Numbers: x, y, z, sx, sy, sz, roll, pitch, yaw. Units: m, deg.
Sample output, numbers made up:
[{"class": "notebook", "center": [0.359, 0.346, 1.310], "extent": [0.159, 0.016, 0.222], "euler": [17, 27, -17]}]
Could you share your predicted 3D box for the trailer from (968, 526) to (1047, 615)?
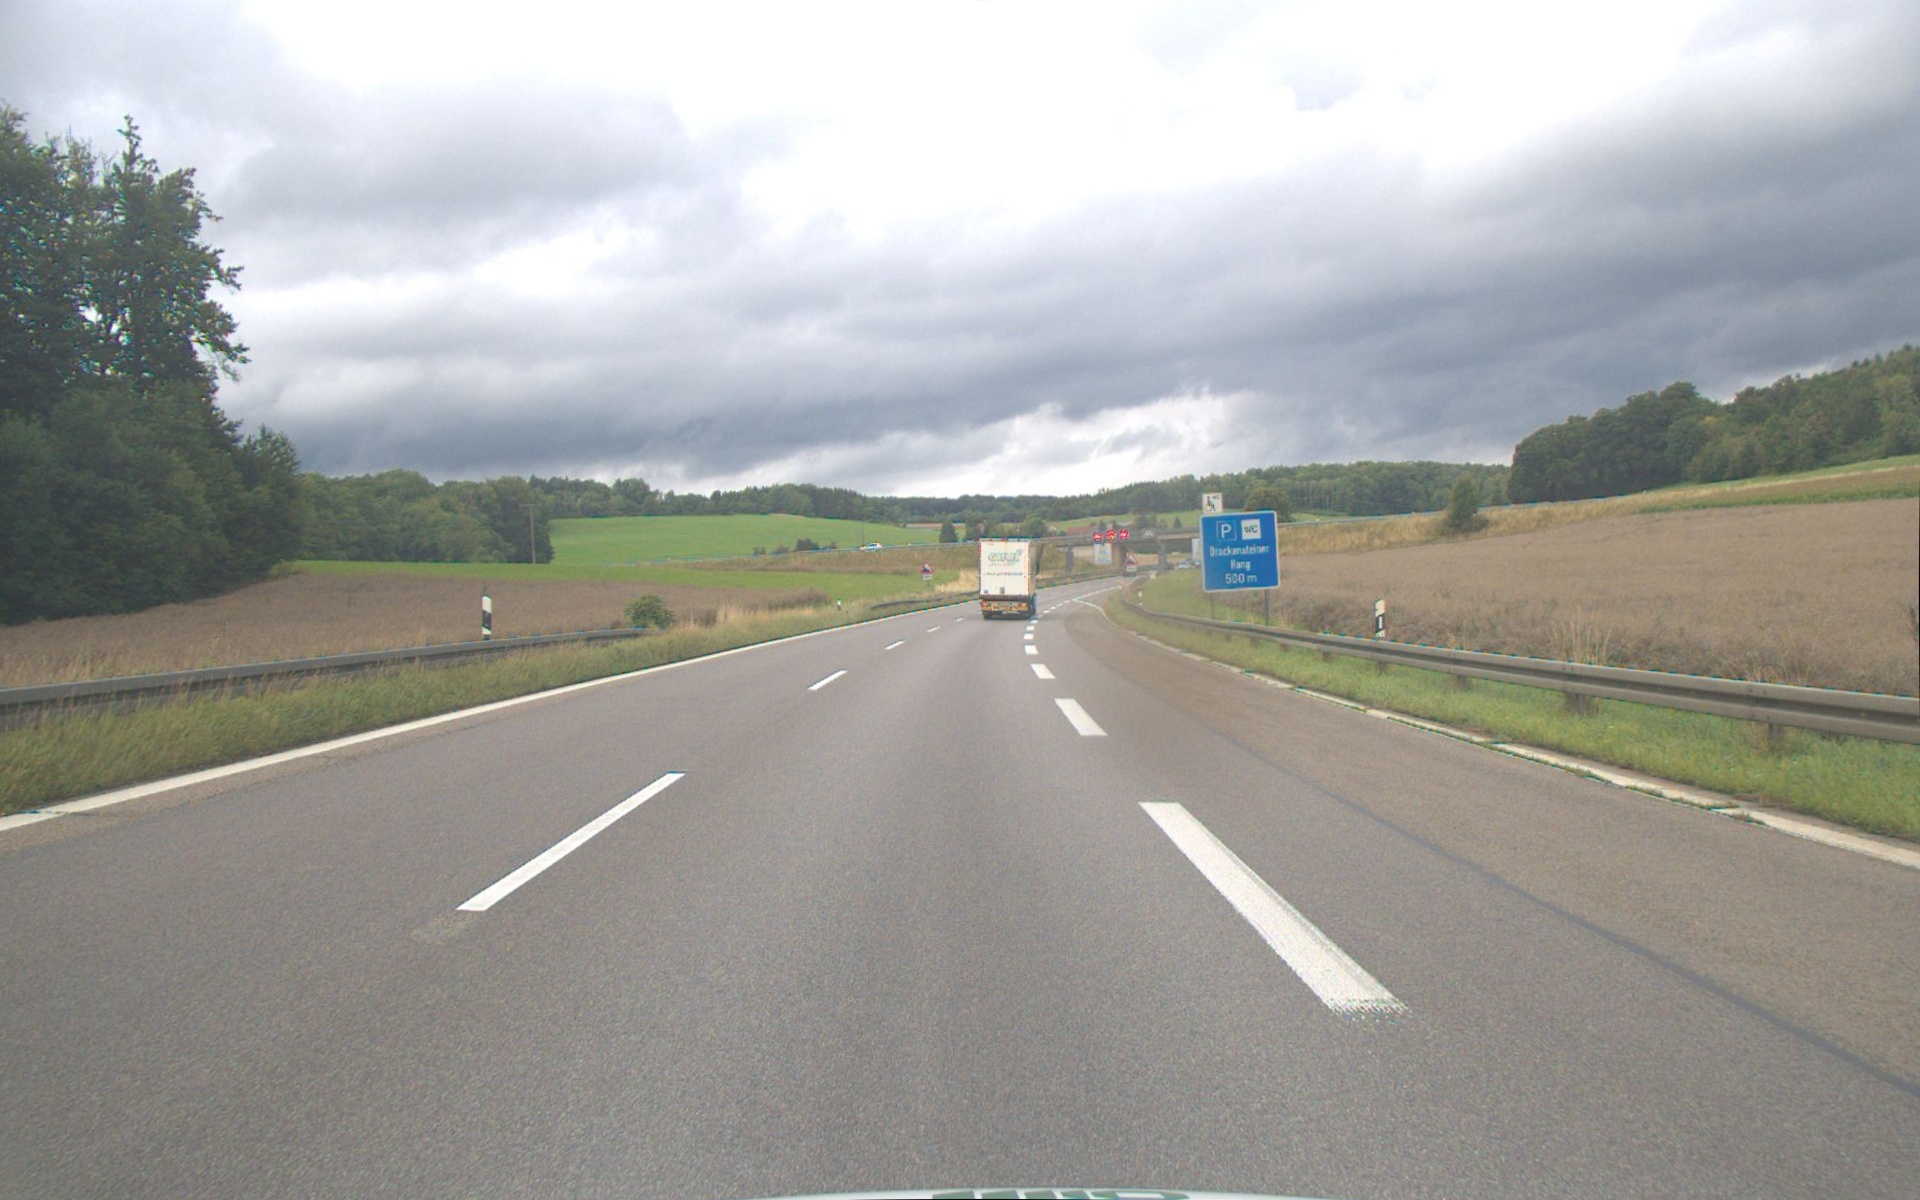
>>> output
[{"class": "trailer", "center": [2.703, -1.514, 87.772], "extent": [3.726, 4.247, 14.815], "euler": [-1, 1, 3]}]

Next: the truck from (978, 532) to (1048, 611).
[{"class": "truck", "center": [3.107, -1.585, 94.899], "extent": [3.708, 4.204, 8.268], "euler": [-2, 0, 3]}]
